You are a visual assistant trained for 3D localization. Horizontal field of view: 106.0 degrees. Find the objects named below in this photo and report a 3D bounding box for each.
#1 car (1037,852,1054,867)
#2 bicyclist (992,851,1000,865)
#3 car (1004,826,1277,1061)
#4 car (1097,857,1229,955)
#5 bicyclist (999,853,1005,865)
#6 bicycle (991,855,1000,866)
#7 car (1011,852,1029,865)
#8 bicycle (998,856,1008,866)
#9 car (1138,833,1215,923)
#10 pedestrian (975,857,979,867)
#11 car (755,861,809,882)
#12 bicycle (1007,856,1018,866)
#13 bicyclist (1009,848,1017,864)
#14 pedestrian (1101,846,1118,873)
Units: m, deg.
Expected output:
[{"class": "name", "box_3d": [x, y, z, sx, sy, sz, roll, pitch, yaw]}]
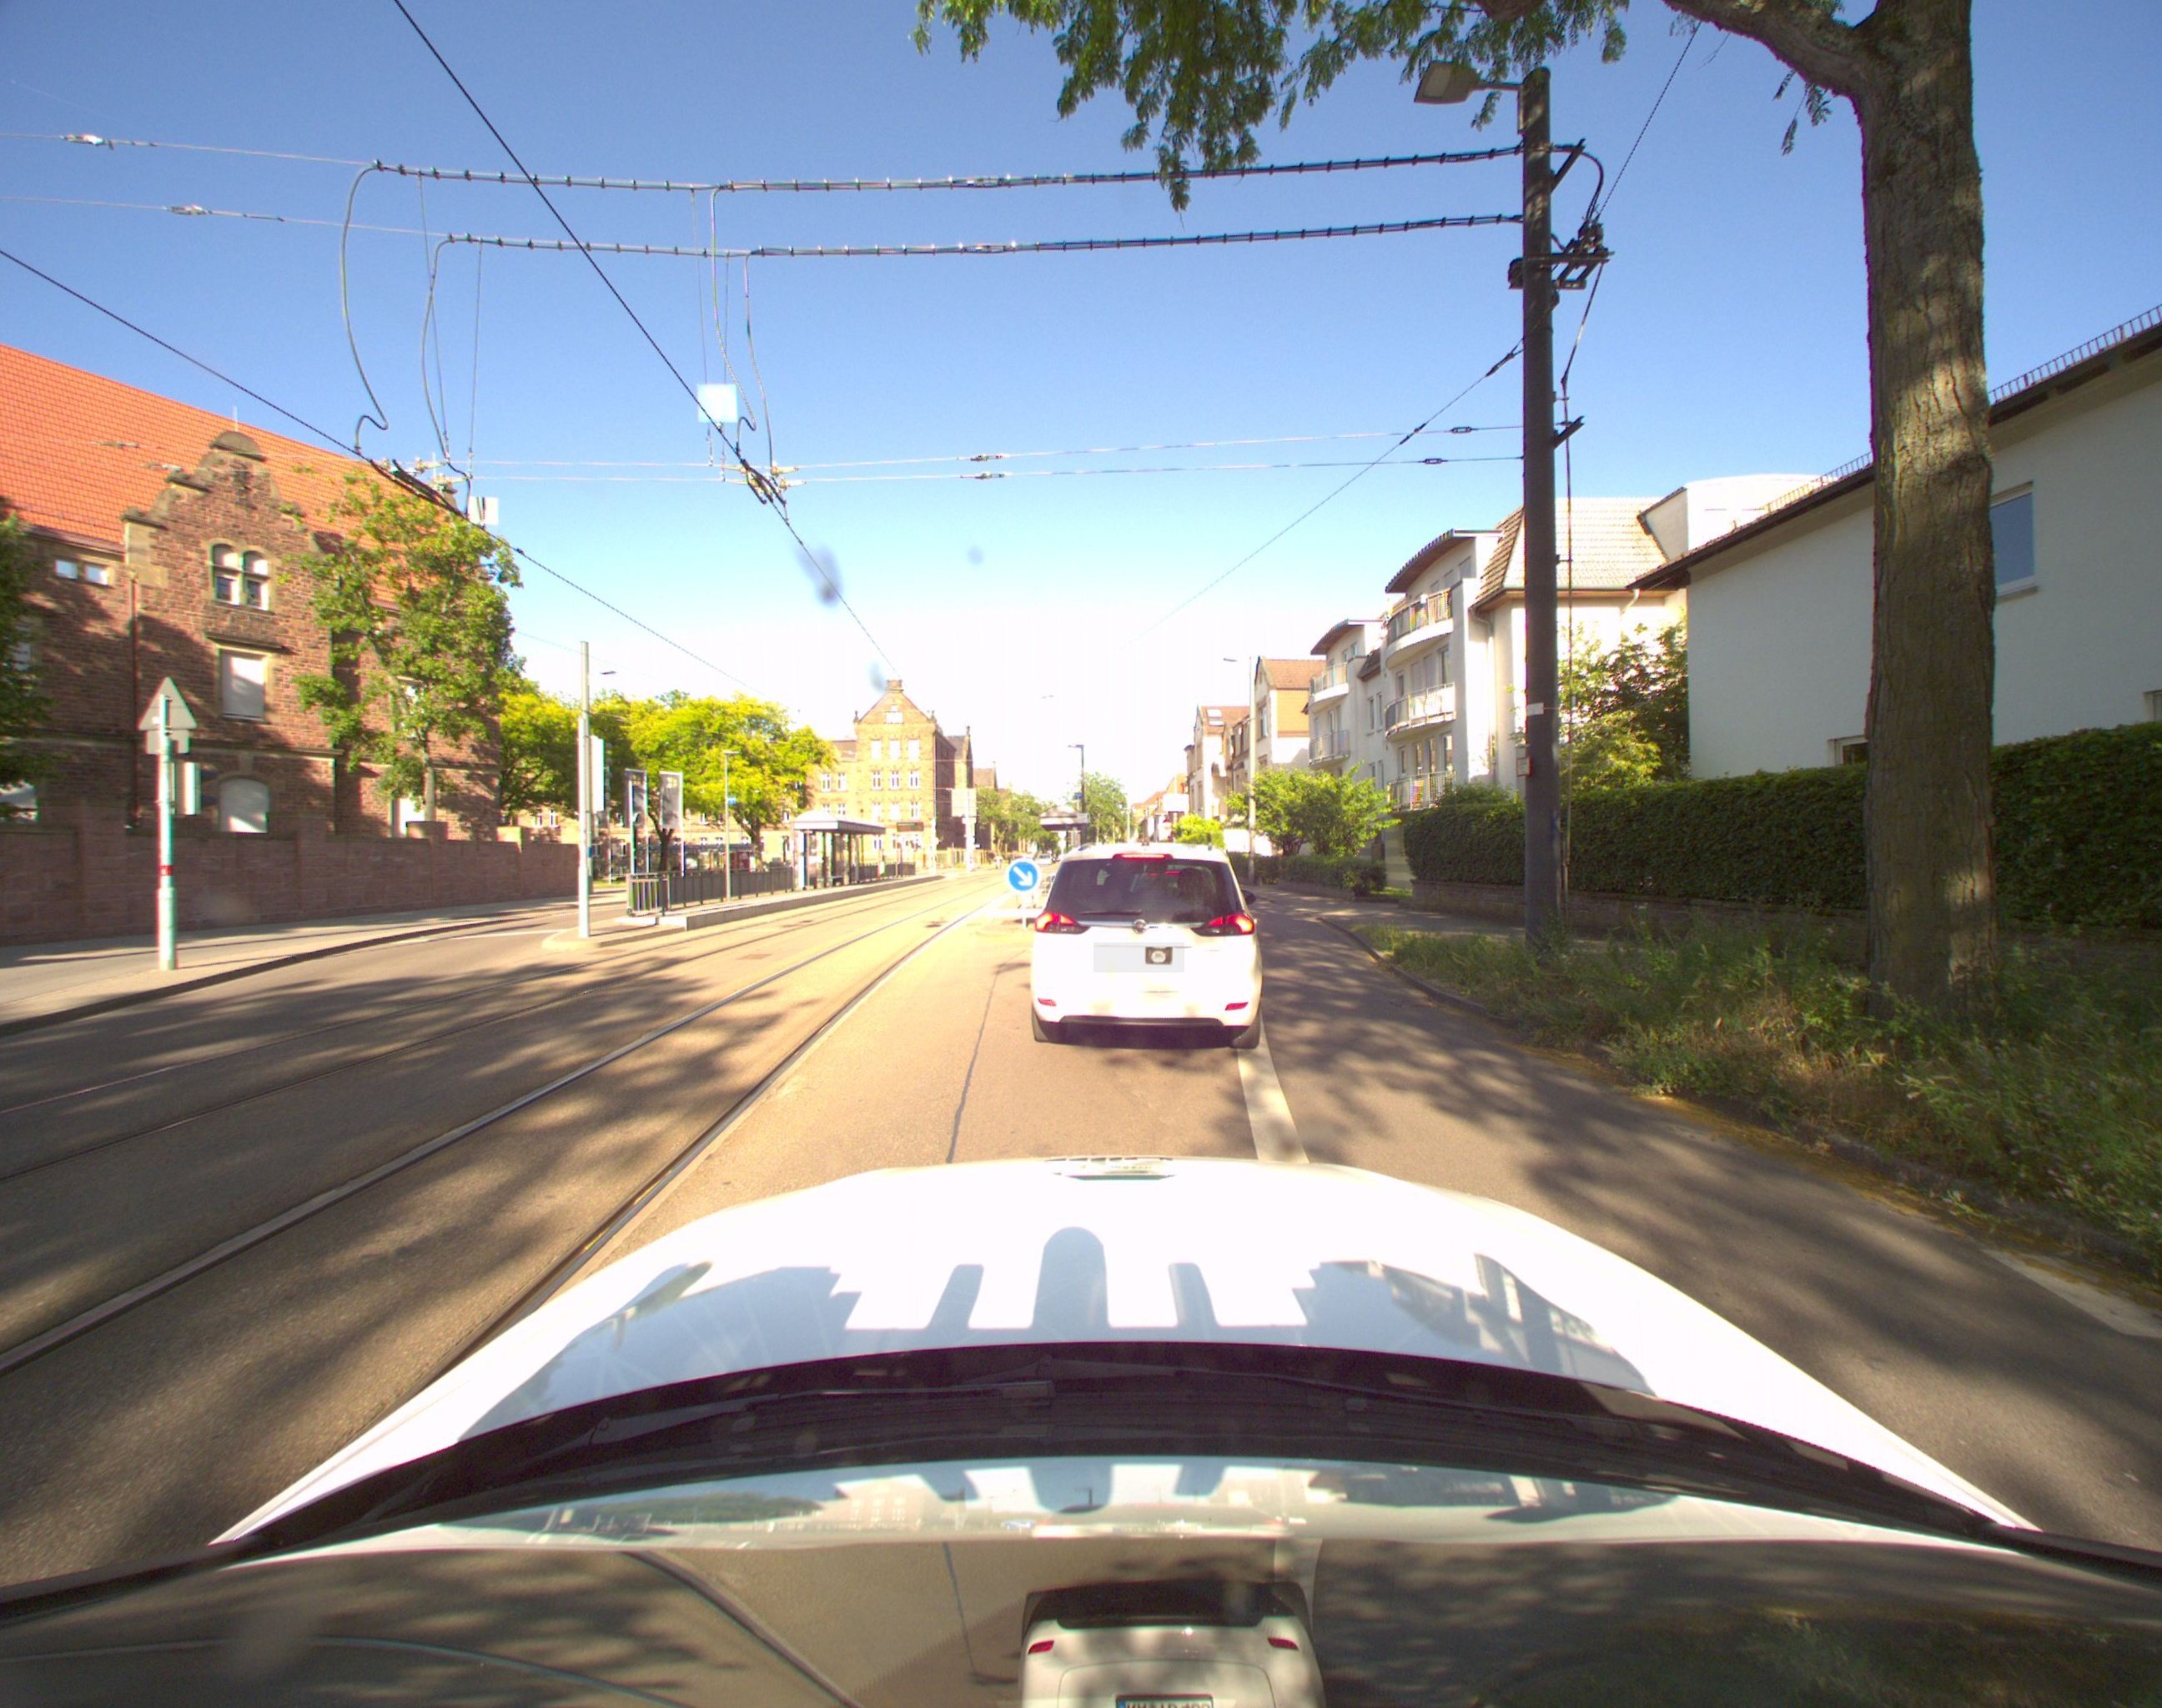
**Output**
[{"class": "car", "box_3d": [-4.702, 0.710, 107.572, 1.987, 1.913, 4.000, -1, -1, 1]}, {"class": "bicyclist", "box_3d": [-10.793, 0.467, 103.356, 0.941, 1.734, 0.861, -1, 0, -1]}, {"class": "car", "box_3d": [0.682, 0.697, 7.816, 1.882, 1.611, 4.237, -1, -2, 8]}, {"class": "car", "box_3d": [1.564, 0.820, 14.463, 1.982, 1.442, 4.010, -2, 0, 9]}, {"class": "bicyclist", "box_3d": [-10.671, 0.663, 109.516, 0.700, 1.607, 0.657, -1, 0, -1]}, {"class": "bicycle", "box_3d": [-10.795, 0.792, 103.066, 0.819, 1.297, 2.676, -1, 0, -2]}, {"class": "car", "box_3d": [-8.529, 0.607, 114.145, 1.984, 1.722, 4.005, -1, 0, 4]}, {"class": "bicycle", "box_3d": [-10.464, 0.944, 109.760, 1.145, 1.297, 2.859, -1, 0, -2]}, {"class": "car", "box_3d": [2.507, 0.550, 20.588, 1.699, 2.013, 3.917, -2, 0, 9]}, {"class": "pedestrian", "box_3d": [-14.508, 1.131, 113.736, 0.360, 1.438, 0.549, -1, 0, 2]}, {"class": "car", "box_3d": [-25.999, 1.529, 70.964, 3.980, 1.790, 1.997, -1, 0, -5]}, {"class": "bicycle", "box_3d": [-8.887, 0.915, 105.906, 1.145, 1.297, 2.859, -1, 0, -2]}, {"class": "bicyclist", "box_3d": [-8.868, 0.295, 105.905, 0.948, 2.014, 0.822, -1, 0, -4]}, {"class": "pedestrian", "box_3d": [2.193, 0.415, 62.564, 1.153, 2.013, 1.118, -2, 0, -3]}]
